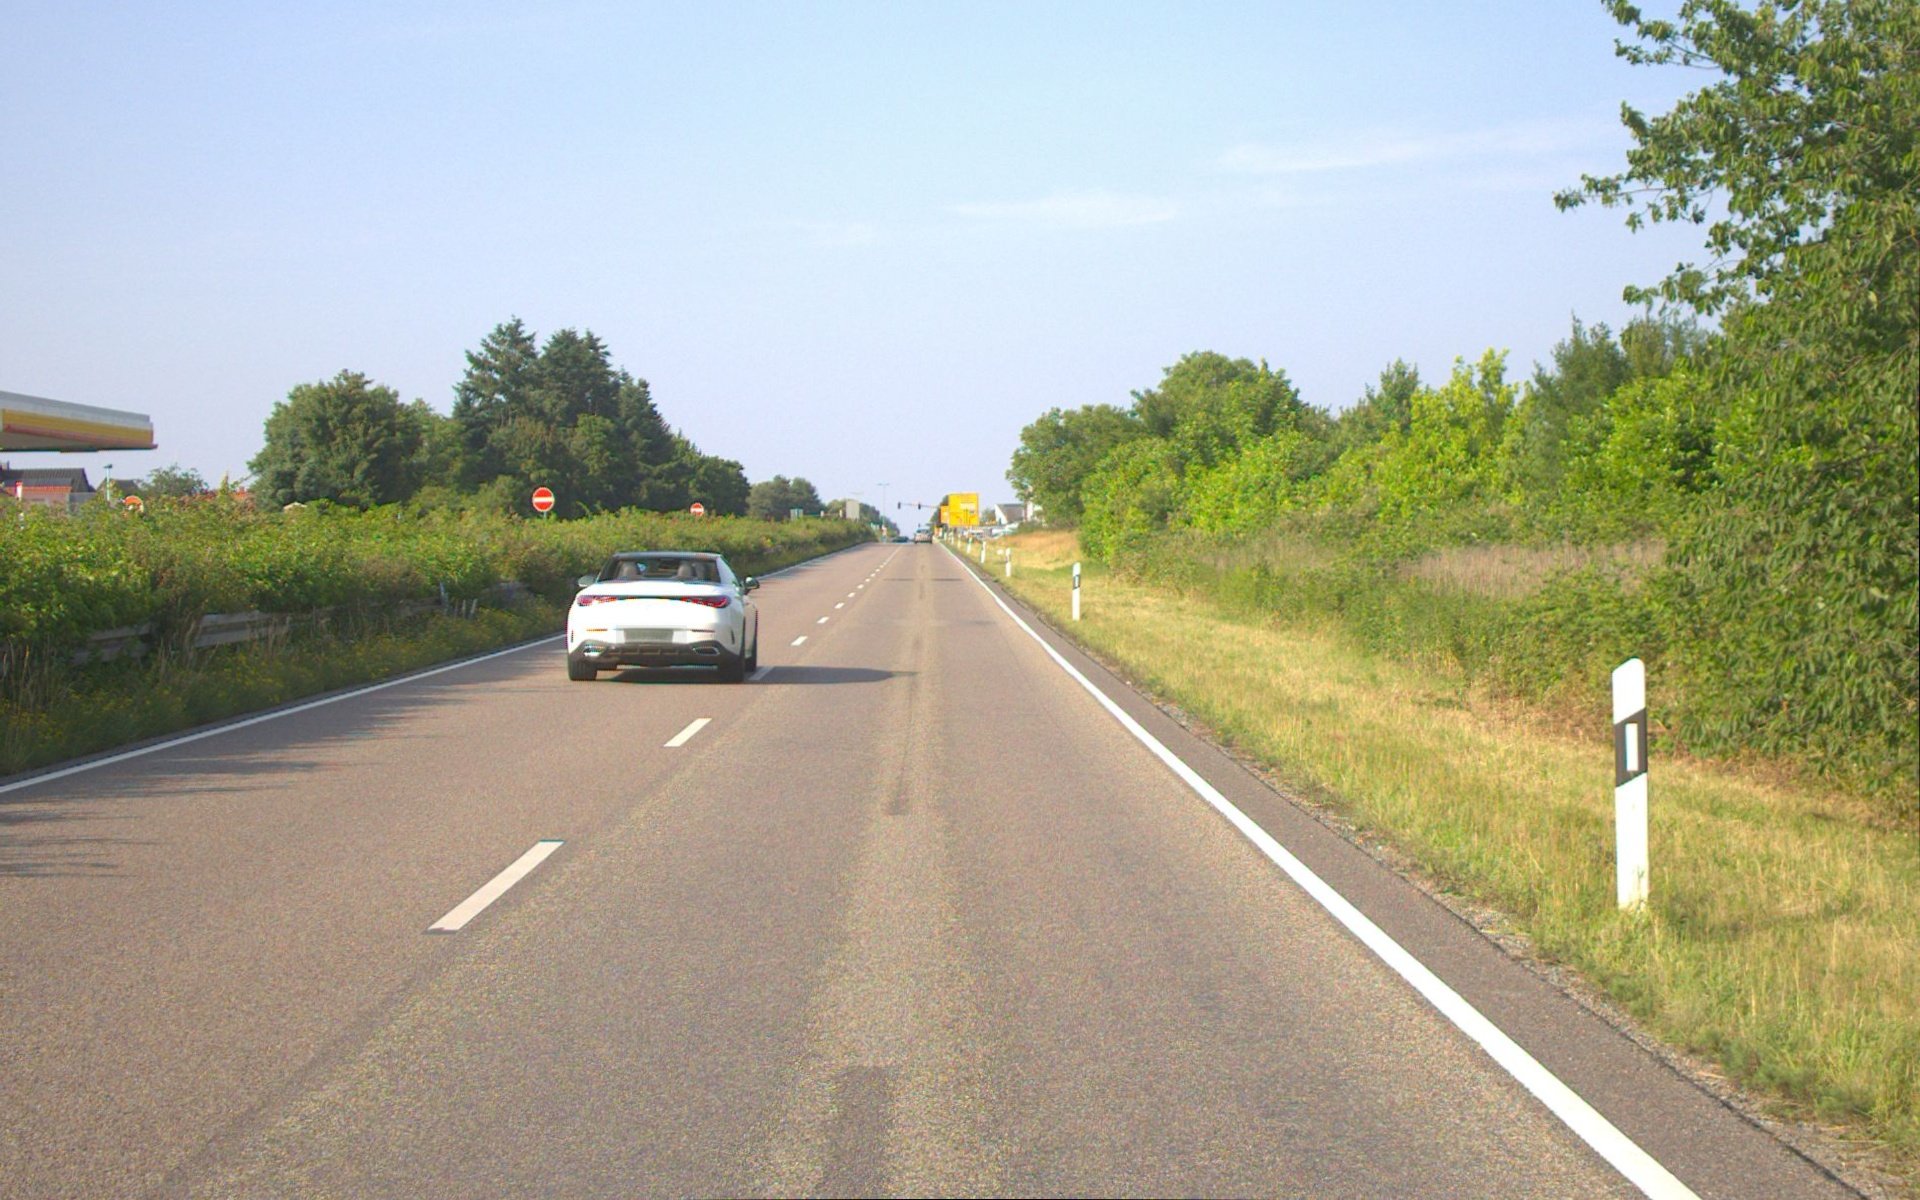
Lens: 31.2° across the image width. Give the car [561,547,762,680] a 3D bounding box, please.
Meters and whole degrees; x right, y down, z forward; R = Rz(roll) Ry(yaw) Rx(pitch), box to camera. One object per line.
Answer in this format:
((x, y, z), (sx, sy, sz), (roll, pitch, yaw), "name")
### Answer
((-3.211, 0.101, 37.761), (1.771, 1.333, 4.950), (1, 1, 0), "car")
